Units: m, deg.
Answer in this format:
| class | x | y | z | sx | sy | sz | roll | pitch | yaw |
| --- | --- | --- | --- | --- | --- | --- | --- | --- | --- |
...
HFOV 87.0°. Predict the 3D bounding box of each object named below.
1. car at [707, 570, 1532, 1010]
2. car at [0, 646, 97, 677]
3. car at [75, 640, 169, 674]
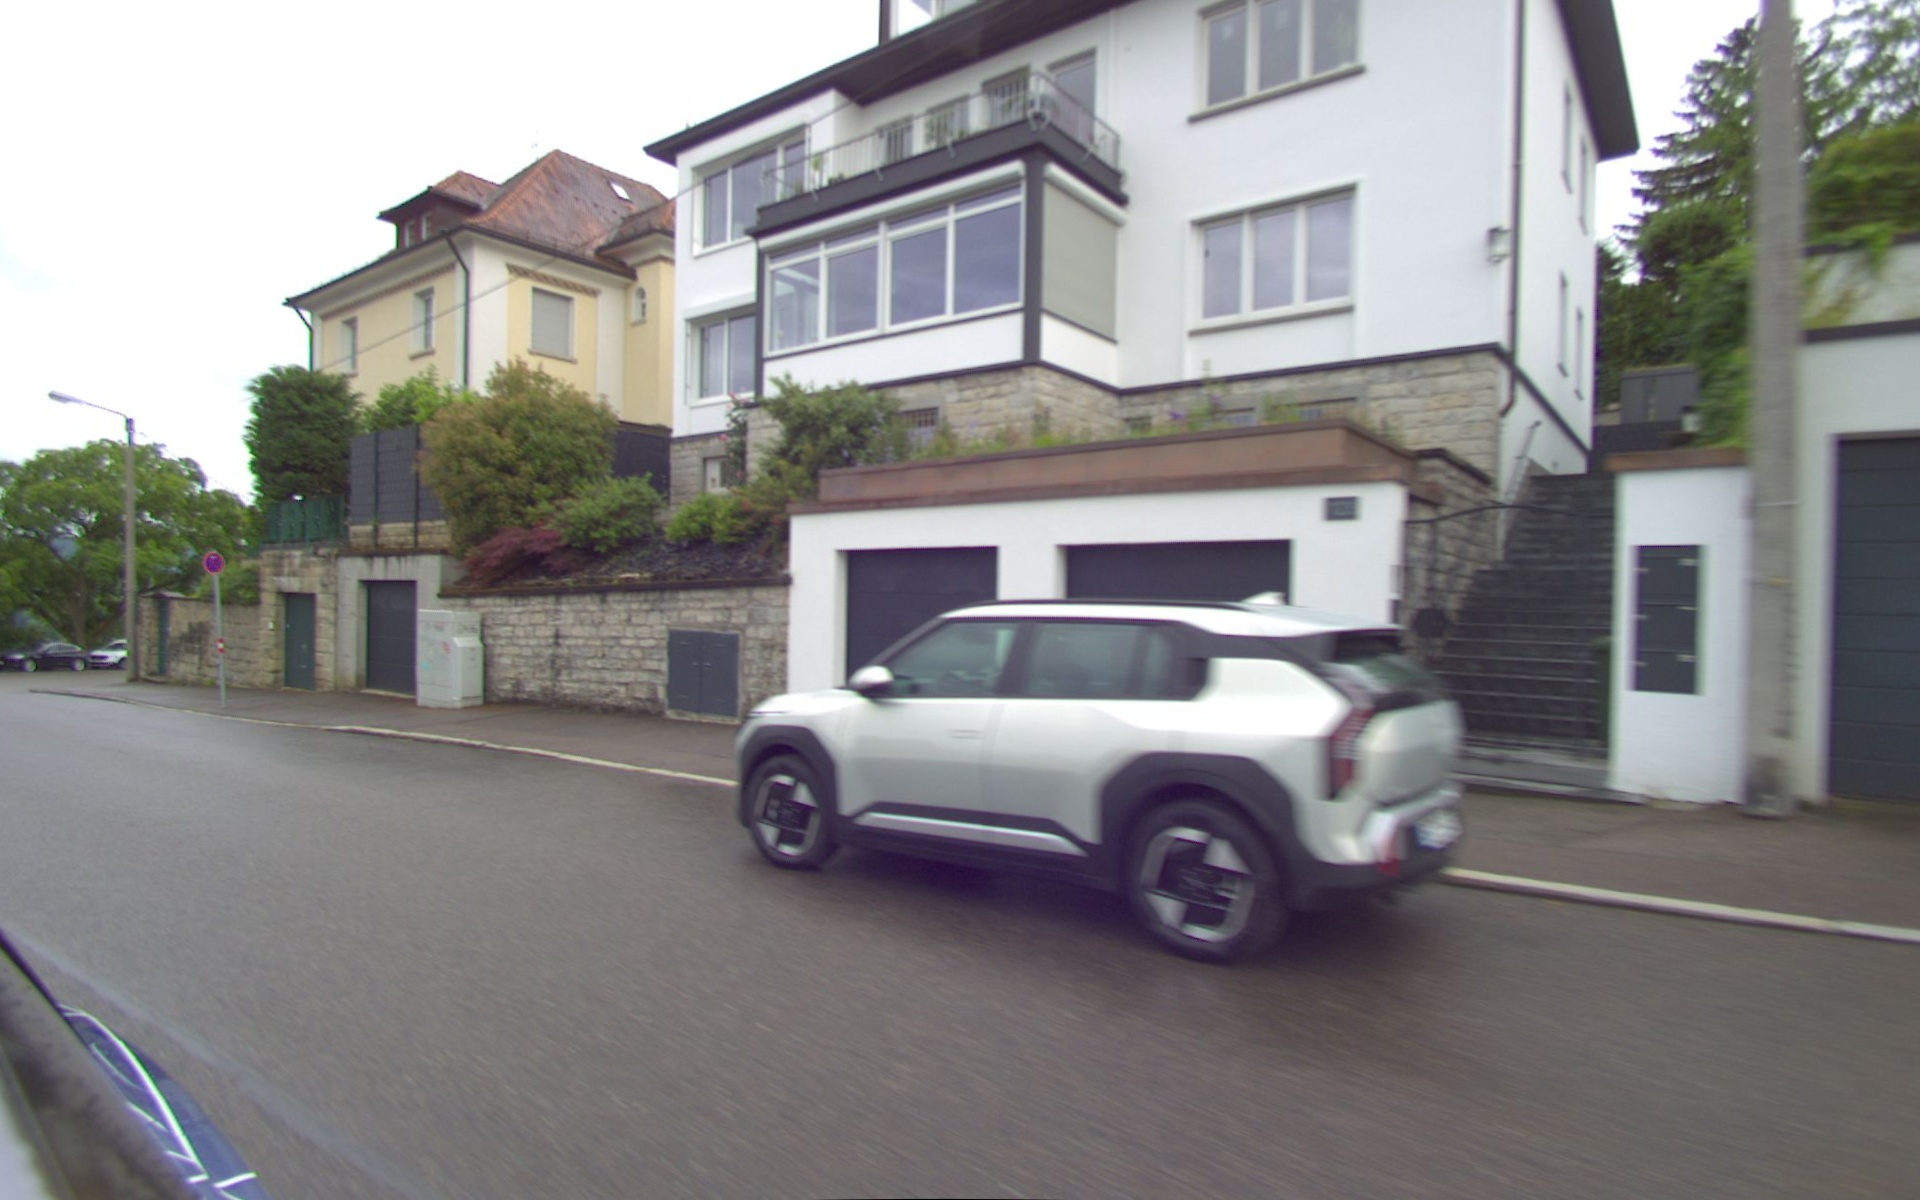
| class | x | y | z | sx | sy | sz | roll | pitch | yaw |
| --- | --- | --- | --- | --- | --- | --- | --- | --- | --- |
| car | 0.652 | 0.746 | 5.713 | 4.233 | 1.579 | 1.880 | -2 | -2 | 39 |
| car | -48.423 | 3.204 | 53.253 | 1.839 | 1.554 | 4.895 | 1 | -3 | -1 |
| car | -48.704 | 3.332 | 58.957 | 1.727 | 1.835 | 4.423 | 2 | -3 | 0 |
